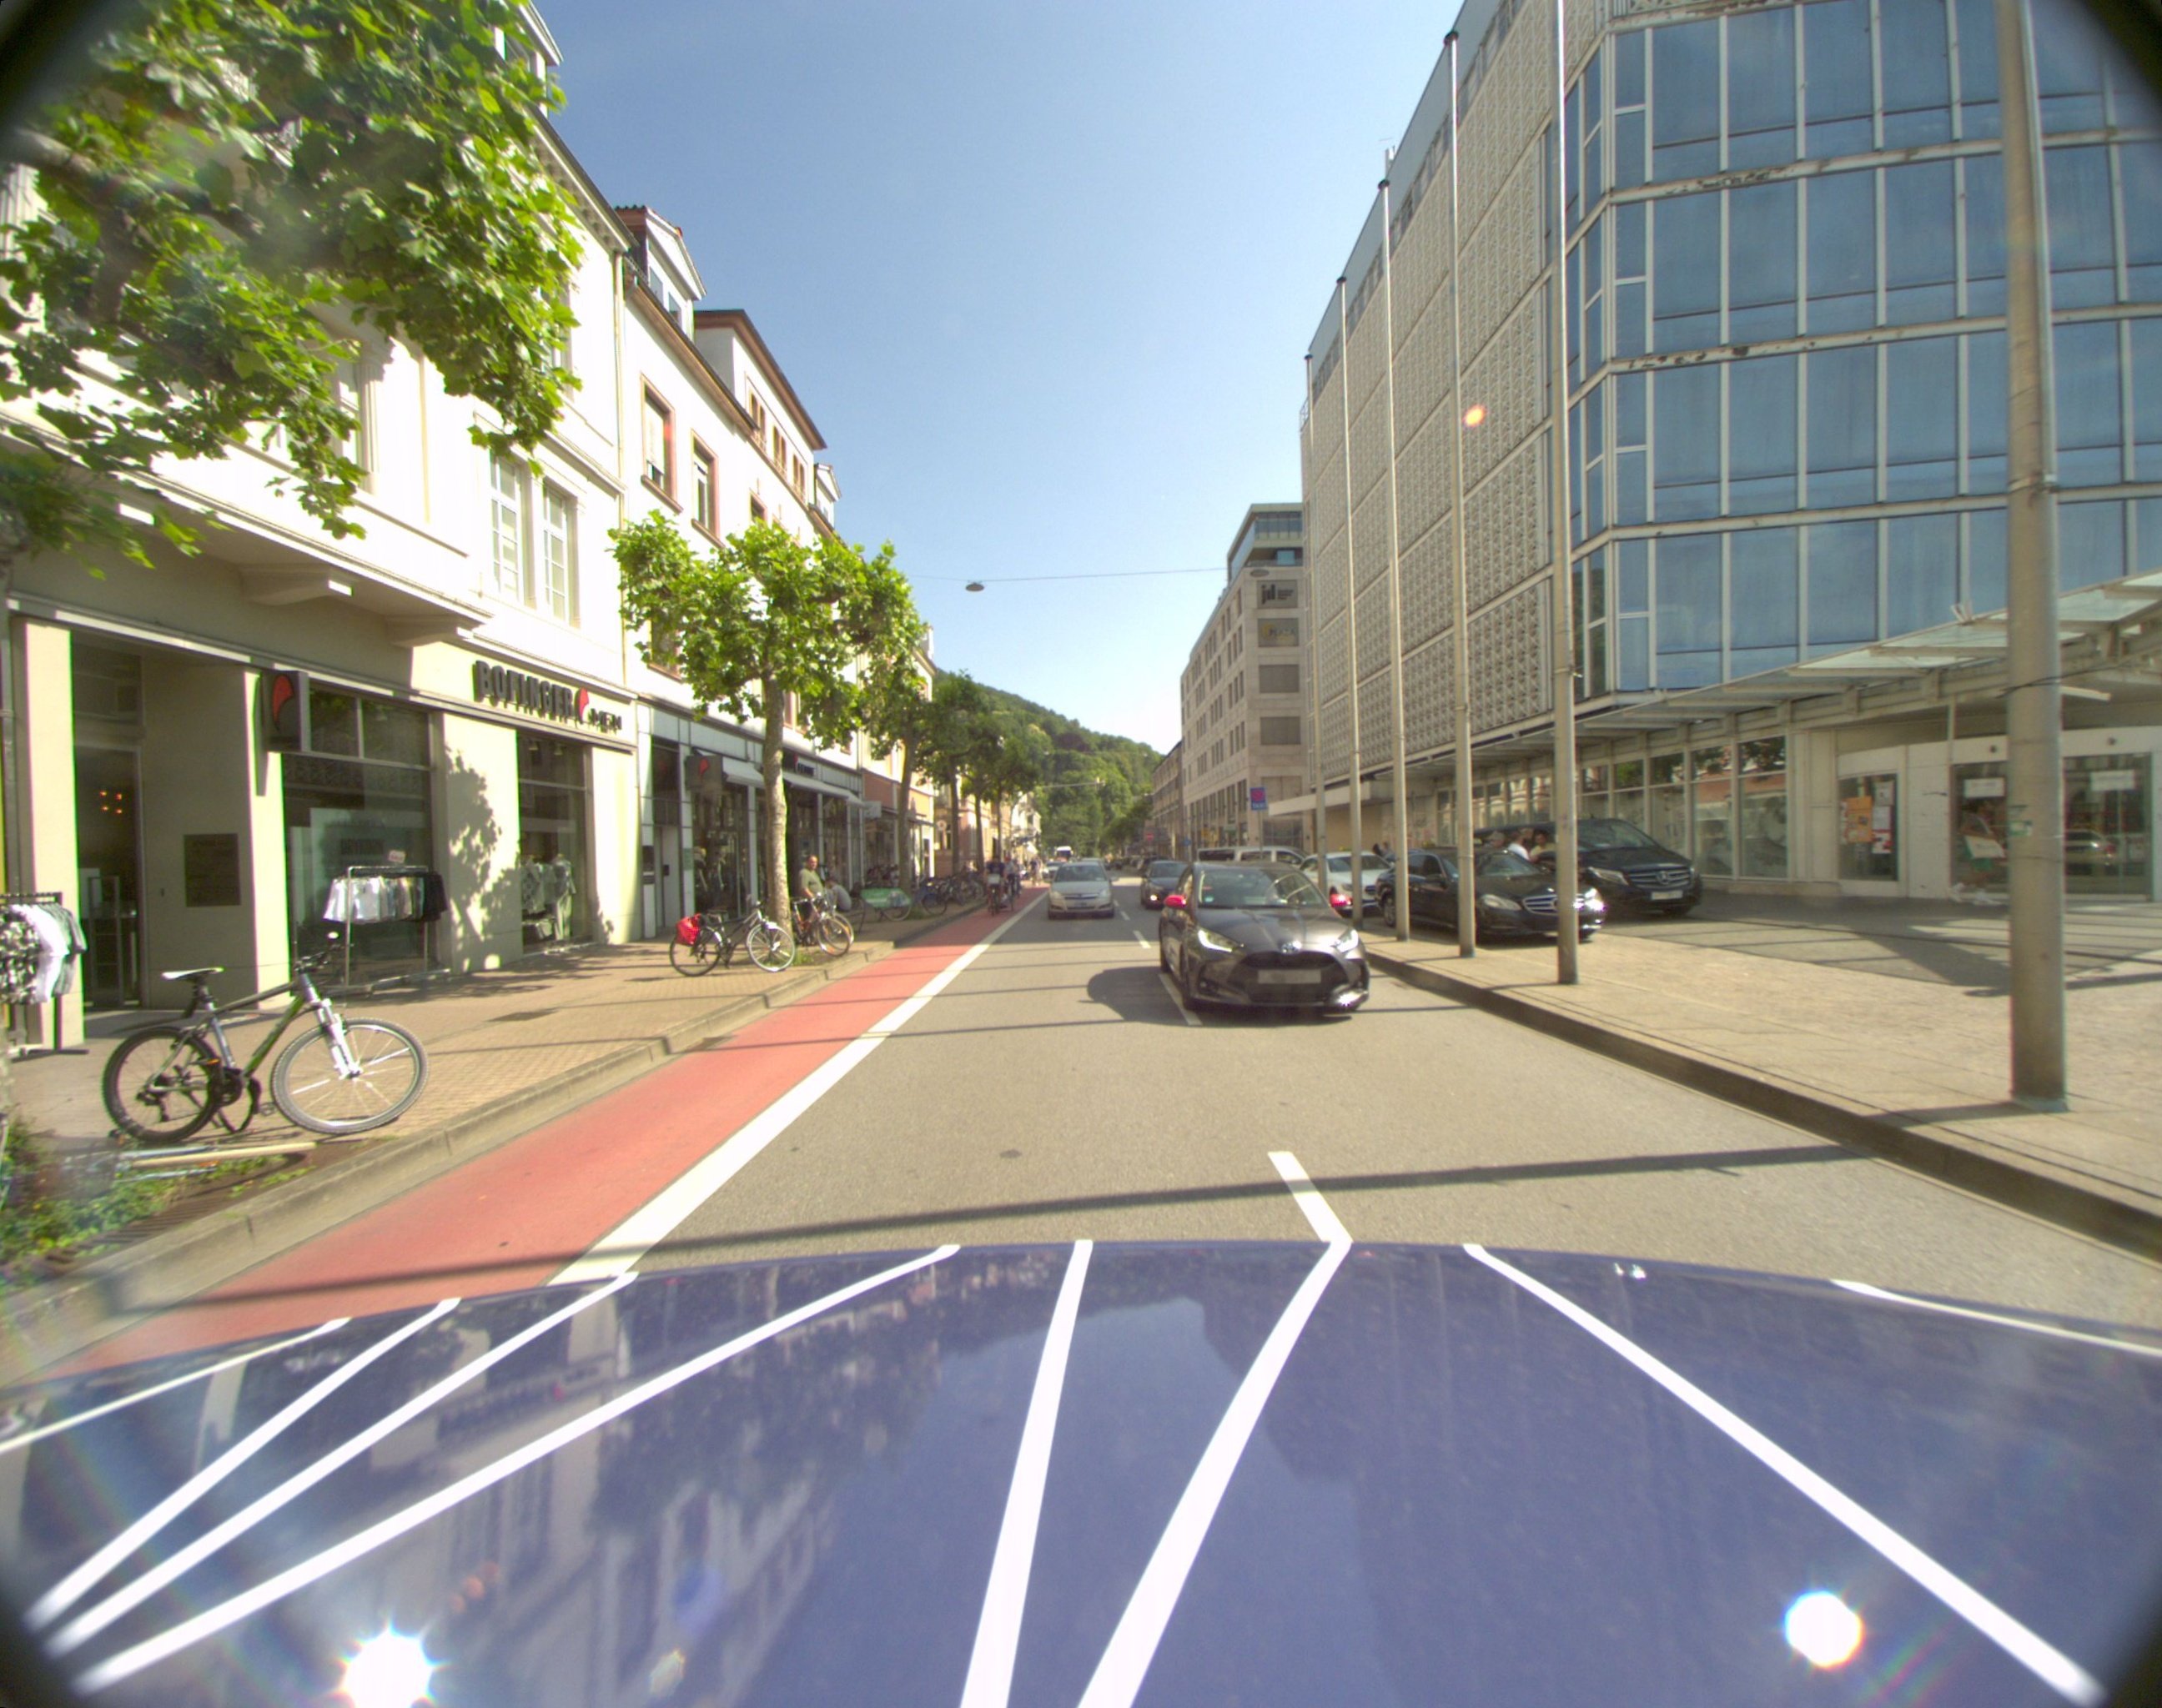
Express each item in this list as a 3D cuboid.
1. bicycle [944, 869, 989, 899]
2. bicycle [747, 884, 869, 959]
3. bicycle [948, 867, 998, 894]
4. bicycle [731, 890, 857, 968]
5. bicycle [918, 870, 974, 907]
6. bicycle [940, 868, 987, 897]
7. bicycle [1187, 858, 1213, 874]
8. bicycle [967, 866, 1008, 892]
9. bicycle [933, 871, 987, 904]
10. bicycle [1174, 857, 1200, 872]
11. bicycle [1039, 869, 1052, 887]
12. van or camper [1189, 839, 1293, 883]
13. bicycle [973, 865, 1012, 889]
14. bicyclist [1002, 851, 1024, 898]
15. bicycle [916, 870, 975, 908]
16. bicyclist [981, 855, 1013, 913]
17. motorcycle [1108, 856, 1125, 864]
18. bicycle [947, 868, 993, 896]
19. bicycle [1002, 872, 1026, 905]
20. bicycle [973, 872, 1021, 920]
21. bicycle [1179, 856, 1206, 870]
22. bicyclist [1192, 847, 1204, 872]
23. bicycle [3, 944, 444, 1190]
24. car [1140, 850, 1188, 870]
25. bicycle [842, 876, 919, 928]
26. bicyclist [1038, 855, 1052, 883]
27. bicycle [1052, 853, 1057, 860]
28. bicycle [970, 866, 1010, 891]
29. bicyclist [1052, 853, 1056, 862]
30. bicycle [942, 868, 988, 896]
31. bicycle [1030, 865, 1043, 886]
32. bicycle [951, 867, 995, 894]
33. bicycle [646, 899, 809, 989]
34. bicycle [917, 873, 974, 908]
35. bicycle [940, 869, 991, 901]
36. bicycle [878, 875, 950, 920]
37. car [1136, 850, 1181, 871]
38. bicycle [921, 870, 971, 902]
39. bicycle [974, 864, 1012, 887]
[{"bbox_3d":[-4.555,1.183,30.278,1.841,1.120,0.449,-1,2,28],"label":"bicycle"},{"bbox_3d":[-4.730,1.156,13.201,1.843,1.190,0.674,-2,1,8],"label":"bicycle"},{"bbox_3d":[-4.764,1.180,33.555,1.989,1.120,0.762,-1,2,13],"label":"bicycle"},{"bbox_3d":[-4.574,1.196,12.133,1.843,1.120,0.498,-3,1,12],"label":"bicycle"},{"bbox_3d":[-4.793,1.207,26.925,1.846,1.120,0.764,-4,2,-12],"label":"bicycle"},{"bbox_3d":[-4.880,1.179,31.582,1.844,1.120,0.448,-1,2,3],"label":"bicycle"},{"bbox_3d":[9.255,0.928,59.109,1.990,1.120,0.800,-2,0,7],"label":"bicycle"},{"bbox_3d":[-4.423,1.179,35.974,1.844,1.120,0.530,-1,2,2],"label":"bicycle"},{"bbox_3d":[-4.435,1.218,27.893,1.844,1.087,0.564,-3,1,1],"label":"bicycle"},{"bbox_3d":[8.573,0.825,61.564,2.058,1.162,0.606,0,1,37],"label":"bicycle"},{"bbox_3d":[-2.228,1.505,47.746,0.664,1.111,1.992,-1,-1,2],"label":"bicycle"},{"bbox_3d":[8.090,0.379,38.618,4.648,2.002,2.004,-4,0,40],"label":"van or camper"},{"bbox_3d":[-4.470,1.156,38.526,1.844,1.120,0.643,-1,1,2],"label":"bicycle"},{"bbox_3d":[-2.499,0.748,27.950,0.684,1.707,0.844,-1,1,-1],"label":"bicyclist"},{"bbox_3d":[-4.566,1.187,25.681,1.846,1.120,0.632,-4,1,-10],"label":"bicycle"},{"bbox_3d":[-2.456,0.858,22.236,0.732,1.664,0.775,-1,1,9],"label":"bicyclist"},{"bbox_3d":[6.145,0.967,131.099,0.980,1.342,3.094,-1,0,-43],"label":"motorcycle"},{"bbox_3d":[-4.785,1.208,32.842,1.843,1.120,0.530,-3,1,13],"label":"bicycle"},{"bbox_3d":[-2.449,1.241,27.946,0.737,1.120,2.033,-2,0,-1],"label":"bicycle"},{"bbox_3d":[-2.428,1.200,22.255,0.733,1.261,2.284,-3,-1,9],"label":"bicycle"},{"bbox_3d":[9.231,0.758,62.700,2.059,1.120,0.648,-2,0,27],"label":"bicycle"},{"bbox_3d":[9.077,0.426,59.111,0.843,1.948,1.017,-1,1,6],"label":"bicyclist"},{"bbox_3d":[-4.863,1.187,4.372,1.844,1.179,0.670,-3,1,6],"label":"bicycle"},{"bbox_3d":[7.905,0.551,71.916,4.025,1.593,1.961,-4,1,23],"label":"car"},{"bbox_3d":[-5.148,1.209,19.567,1.783,1.190,0.576,-3,1,-27],"label":"bicycle"},{"bbox_3d":[-2.257,0.914,47.678,0.840,1.707,0.844,-1,1,1],"label":"bicyclist"},{"bbox_3d":[-4.922,0.462,139.965,0.743,1.120,2.573,0,1,2],"label":"bicycle"},{"bbox_3d":[-4.382,1.173,36.666,1.844,1.120,0.666,-1,1,2],"label":"bicycle"},{"bbox_3d":[-4.946,0.647,140.059,0.747,1.693,1.036,-1,1,1],"label":"bicyclist"},{"bbox_3d":[-4.894,1.177,32.042,1.844,1.120,0.448,-1,2,3],"label":"bicycle"},{"bbox_3d":[-2.586,1.257,44.178,0.607,1.120,1.859,0,1,2],"label":"bicycle"},{"bbox_3d":[-4.911,1.188,34.526,1.844,1.120,0.679,-2,2,3],"label":"bicycle"},{"bbox_3d":[-4.846,1.223,10.482,1.844,1.091,0.794,-2,1,6],"label":"bicycle"},{"bbox_3d":[-4.659,1.249,26.182,1.846,1.087,0.564,-3,1,-10],"label":"bicycle"},{"bbox_3d":[-4.447,1.173,29.248,1.849,1.120,0.592,-2,2,-35],"label":"bicycle"},{"bbox_3d":[-4.650,1.203,21.227,1.845,1.120,0.497,-4,0,-7],"label":"bicycle"},{"bbox_3d":[7.692,0.652,75.328,4.166,1.627,2.103,-5,0,9],"label":"car"},{"bbox_3d":[-5.195,1.218,29.308,1.849,1.120,0.447,-2,2,-36],"label":"bicycle"},{"bbox_3d":[-4.637,1.144,40.000,1.844,1.120,0.666,-1,1,2],"label":"bicycle"}]
